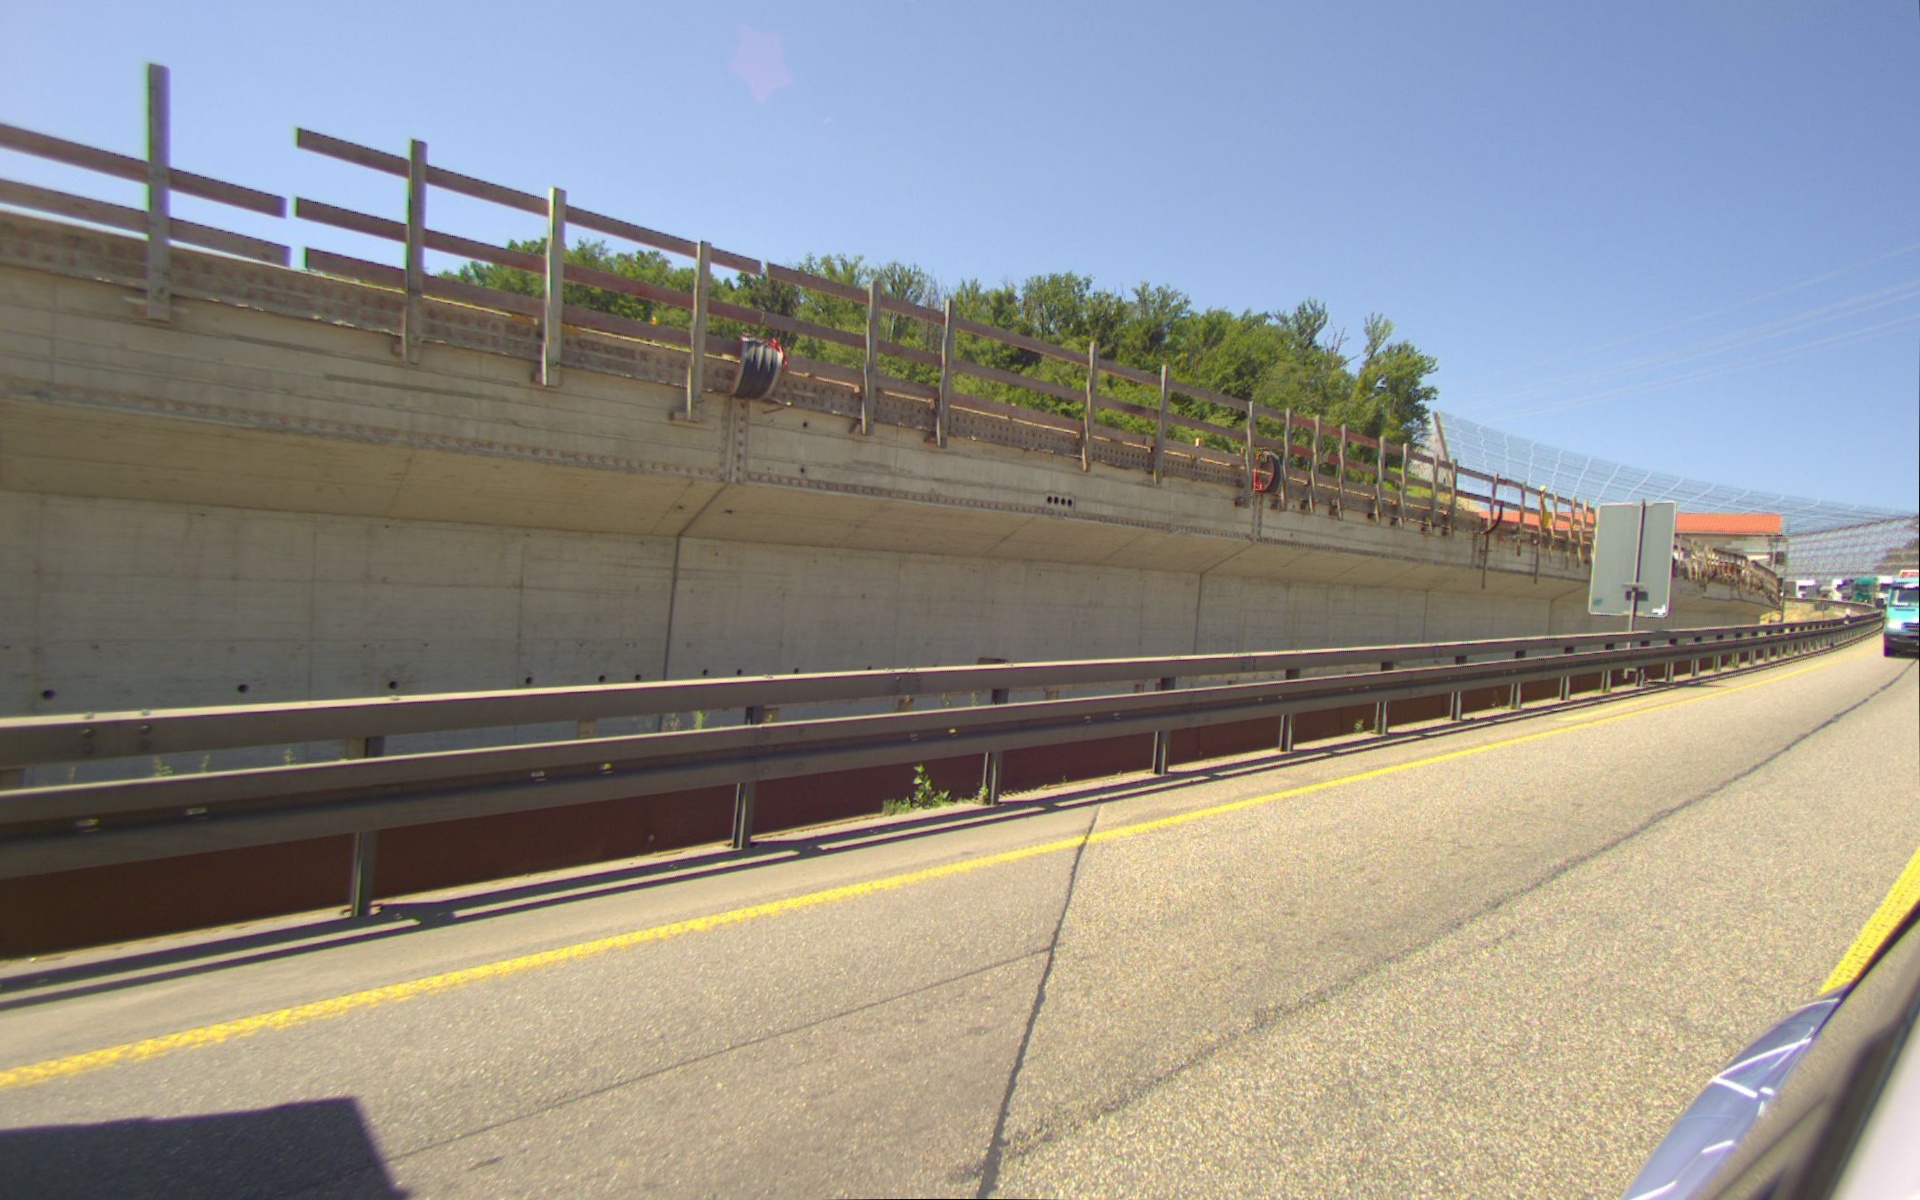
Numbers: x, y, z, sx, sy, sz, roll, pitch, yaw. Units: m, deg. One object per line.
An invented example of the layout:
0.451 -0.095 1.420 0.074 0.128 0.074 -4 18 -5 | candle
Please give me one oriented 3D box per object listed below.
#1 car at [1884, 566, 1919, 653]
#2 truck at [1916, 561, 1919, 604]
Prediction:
28.799 0.249 29.525 6.786 2.355 2.214 0 1 -43 | car
83.201 -1.483 86.125 2.463 3.528 9.718 0 0 42 | truck
